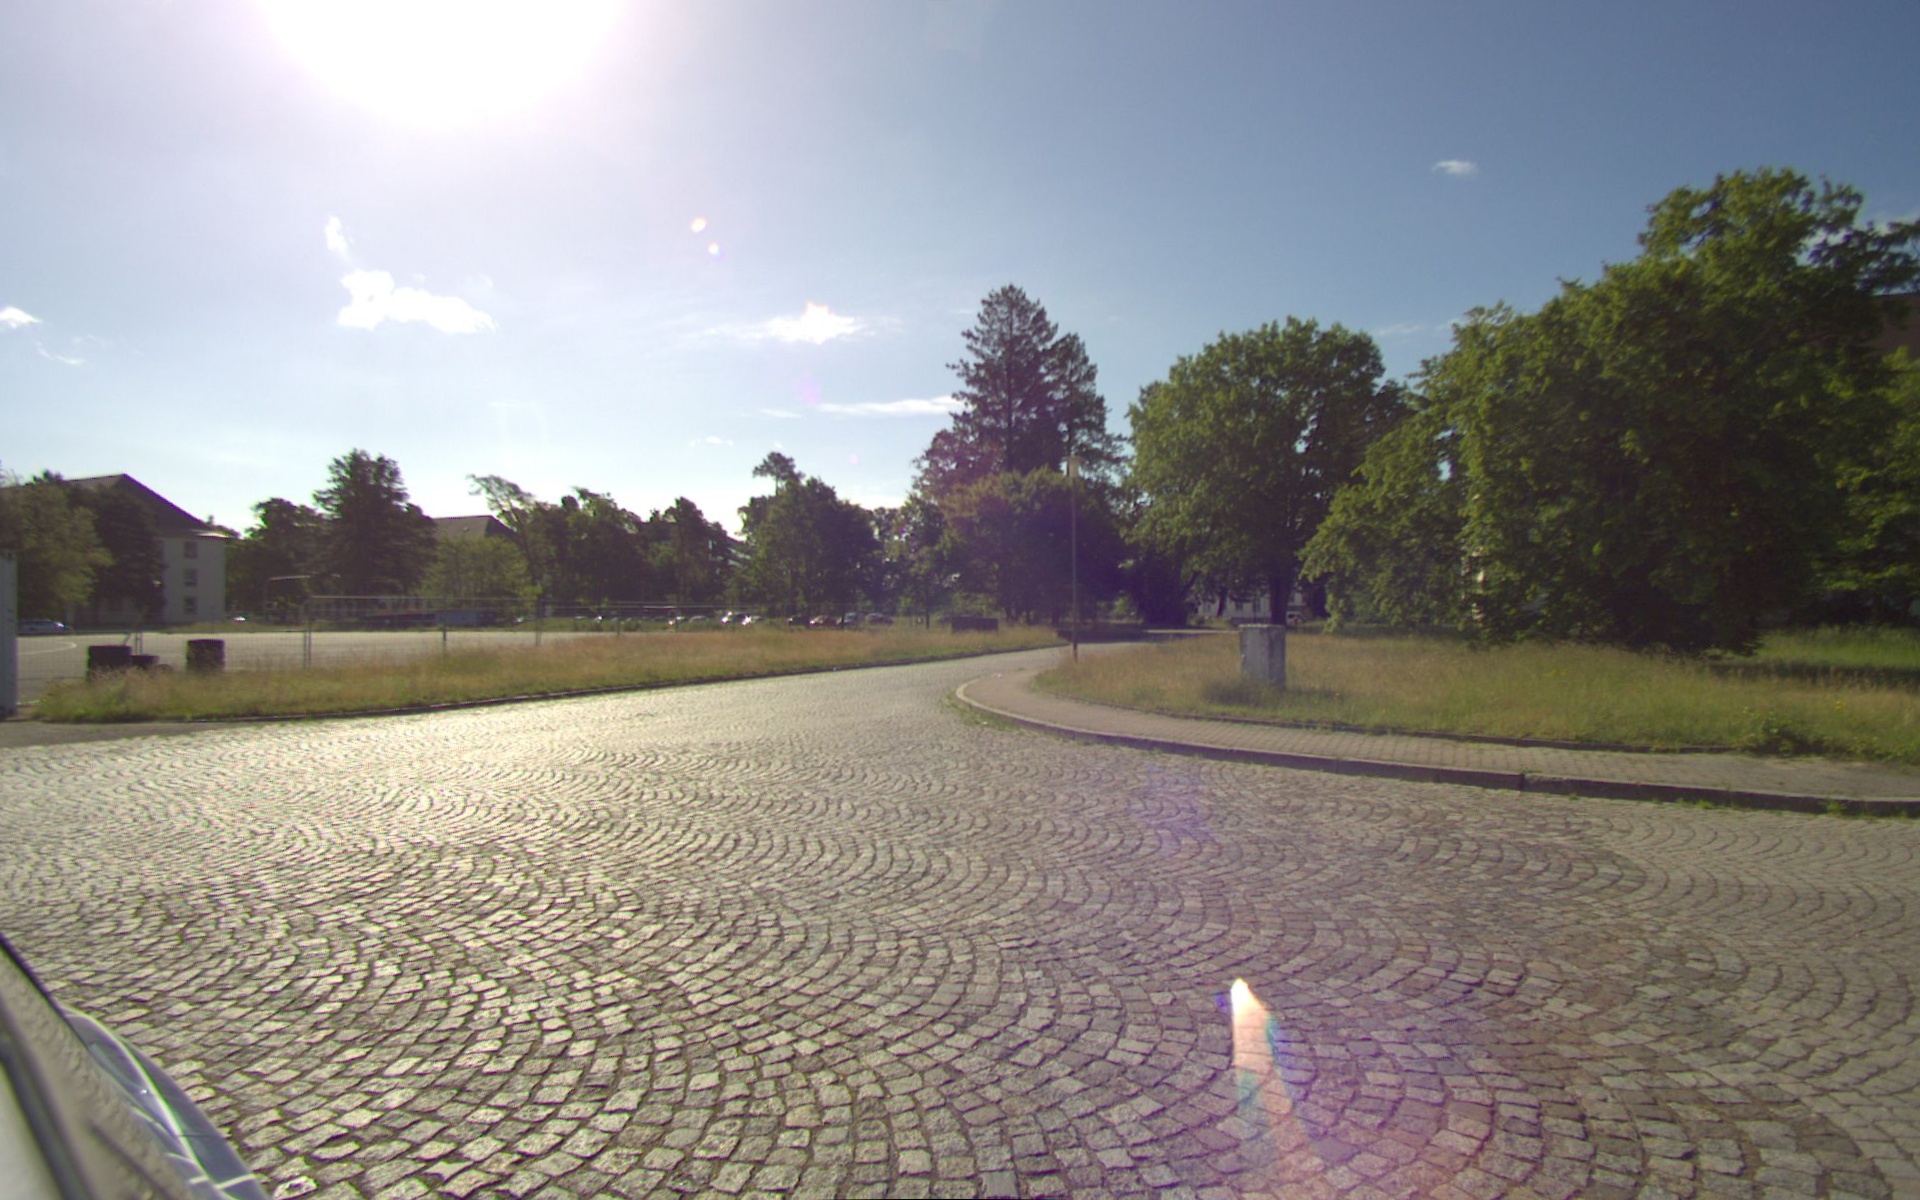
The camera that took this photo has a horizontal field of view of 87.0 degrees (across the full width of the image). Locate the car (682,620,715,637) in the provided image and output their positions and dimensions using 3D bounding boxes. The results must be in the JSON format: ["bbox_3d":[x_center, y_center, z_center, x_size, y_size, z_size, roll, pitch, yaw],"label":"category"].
[{"bbox_3d":[-31.002,3.387,120.145,1.733,2.029,3.819,-1,-1,24],"label":"car"}]

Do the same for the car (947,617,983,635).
[{"bbox_3d":[0.555,2.694,106.121,2.233,1.853,4.314,-1,-1,24],"label":"car"}]

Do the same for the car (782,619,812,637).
[{"bbox_3d":[-18.383,3.144,114.295,1.731,2.029,3.592,-1,-1,22],"label":"car"}]

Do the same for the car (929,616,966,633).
[{"bbox_3d":[-1.283,2.595,107.826,2.236,1.853,4.309,-1,-1,27],"label":"car"}]

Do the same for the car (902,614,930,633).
[{"bbox_3d":[-4.738,2.569,109.660,1.731,2.029,3.592,-1,-1,22],"label":"car"}]

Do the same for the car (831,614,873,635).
[{"bbox_3d":[-11.994,2.710,112.658,1.987,2.029,5.987,-2,0,23],"label":"car"}]

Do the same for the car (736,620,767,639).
[{"bbox_3d":[-24.049,3.387,116.735,1.731,2.029,3.822,-1,-1,22],"label":"car"}]

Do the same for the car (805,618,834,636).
[{"bbox_3d":[-15.708,3.031,113.470,1.731,2.029,3.592,-1,-1,22],"label":"car"}]

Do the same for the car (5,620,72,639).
[{"bbox_3d":[-81.936,2.583,90.064,1.984,1.594,3.975,0,-1,19],"label":"car"}]

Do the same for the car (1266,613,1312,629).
[{"bbox_3d":[49.746,3.171,153.202,6.412,2.485,2.443,-1,-1,25],"label":"car"}]

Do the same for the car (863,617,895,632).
[{"bbox_3d":[-8.820,2.639,110.497,1.987,1.664,3.970,-1,-1,22],"label":"car"}]
